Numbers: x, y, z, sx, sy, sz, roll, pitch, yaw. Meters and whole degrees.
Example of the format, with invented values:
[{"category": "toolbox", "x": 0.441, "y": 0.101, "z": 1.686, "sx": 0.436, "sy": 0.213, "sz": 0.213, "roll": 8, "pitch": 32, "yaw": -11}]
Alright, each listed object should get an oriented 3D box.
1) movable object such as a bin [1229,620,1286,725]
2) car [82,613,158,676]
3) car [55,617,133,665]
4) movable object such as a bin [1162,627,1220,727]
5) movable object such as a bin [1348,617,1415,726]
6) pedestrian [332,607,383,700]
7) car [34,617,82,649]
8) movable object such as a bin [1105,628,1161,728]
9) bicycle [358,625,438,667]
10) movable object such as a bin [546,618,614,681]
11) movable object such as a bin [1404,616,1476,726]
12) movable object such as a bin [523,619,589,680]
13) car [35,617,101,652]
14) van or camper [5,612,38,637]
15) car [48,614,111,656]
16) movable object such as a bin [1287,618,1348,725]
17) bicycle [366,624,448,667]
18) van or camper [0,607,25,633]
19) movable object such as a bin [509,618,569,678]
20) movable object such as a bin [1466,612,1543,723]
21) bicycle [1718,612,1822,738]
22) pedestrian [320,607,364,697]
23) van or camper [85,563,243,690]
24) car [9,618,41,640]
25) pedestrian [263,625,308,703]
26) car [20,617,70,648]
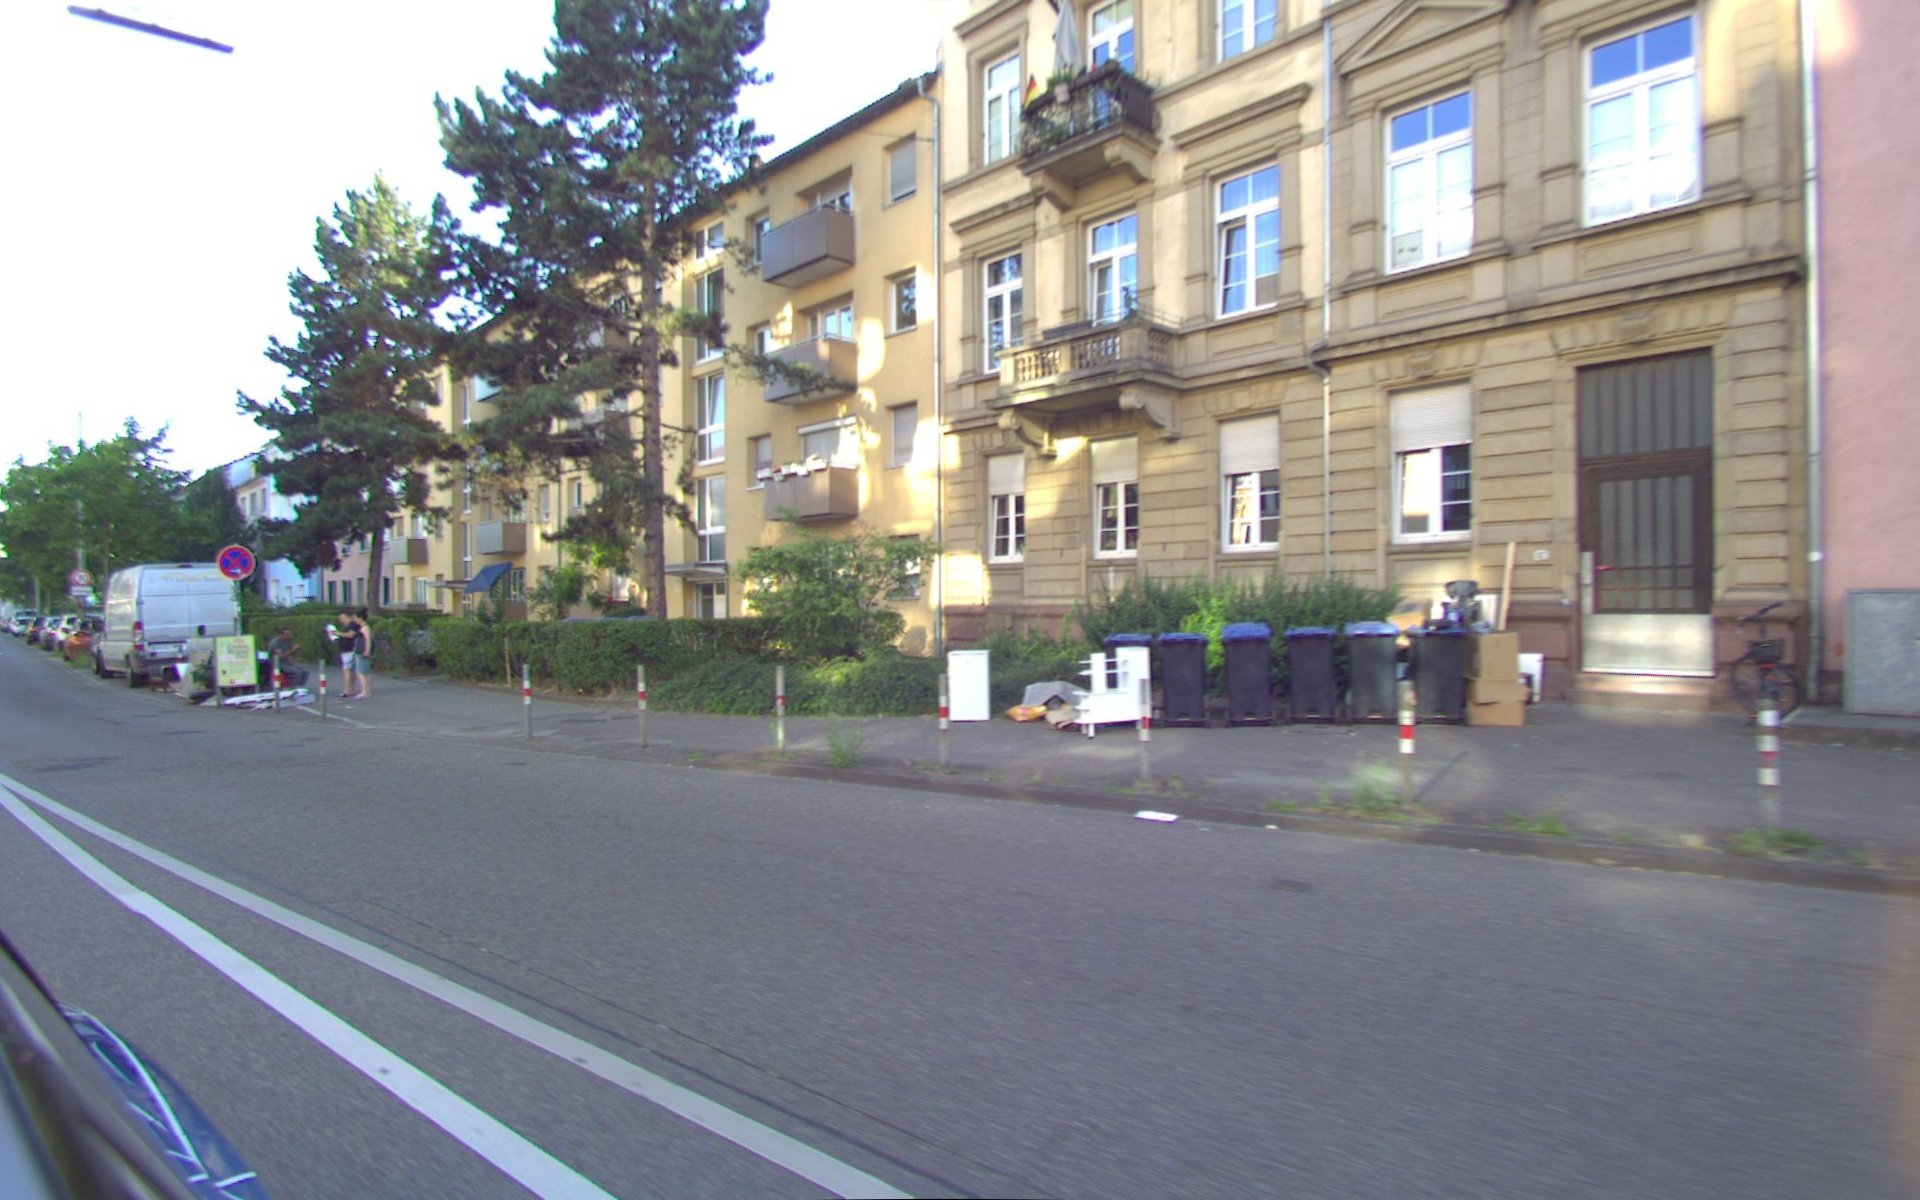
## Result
[{"category": "movable object such as a bin", "x": 3.372, "y": 0.810, "z": 11.509, "sx": 0.578, "sy": 1.119, "sz": 0.639, "roll": -1, "pitch": 2, "yaw": 15}, {"category": "car", "x": -22.965, "y": 1.168, "z": 27.651, "sx": 1.387, "sy": 1.560, "sz": 2.764, "roll": -3, "pitch": 1, "yaw": -43}, {"category": "car", "x": -29.350, "y": 1.360, "z": 34.258, "sx": 1.697, "sy": 1.462, "sz": 3.925, "roll": -2, "pitch": 0, "yaw": -45}, {"category": "movable object such as a bin", "x": 2.661, "y": 0.868, "z": 11.629, "sx": 0.621, "sy": 1.076, "sz": 0.639, "roll": -1, "pitch": 2, "yaw": 15}, {"category": "movable object such as a bin", "x": 4.581, "y": 0.763, "z": 11.023, "sx": 0.578, "sy": 1.119, "sz": 0.639, "roll": -1, "pitch": 2, "yaw": 15}, {"category": "pedestrian", "x": -11.092, "y": 0.973, "z": 18.642, "sx": 0.696, "sy": 1.664, "sz": 0.598, "roll": -1, "pitch": -1, "yaw": 39}, {"category": "car", "x": -45.633, "y": 1.646, "z": 51.162, "sx": 3.643, "sy": 1.503, "sz": 1.573, "roll": 0, "pitch": 1, "yaw": 45}, {"category": "movable object such as a bin", "x": 2.039, "y": 0.901, "z": 11.860, "sx": 0.578, "sy": 1.091, "sz": 0.639, "roll": -1, "pitch": 2, "yaw": 15}, {"category": "bicycle", "x": -14.869, "y": 1.206, "z": 26.795, "sx": 1.738, "sy": 0.989, "sz": 0.590, "roll": -2, "pitch": 1, "yaw": -44}, {"category": "movable object such as a bin", "x": -6.862, "y": 0.877, "z": 18.264, "sx": 0.769, "sy": 1.058, "sz": 0.858, "roll": -1, "pitch": 2, "yaw": 44}, {"category": "movable object such as a bin", "x": 5.178, "y": 0.752, "z": 10.946, "sx": 0.578, "sy": 1.119, "sz": 0.639, "roll": -1, "pitch": 2, "yaw": 15}, {"category": "movable object such as a bin", "x": -7.516, "y": 0.903, "z": 18.841, "sx": 0.769, "sy": 1.058, "sz": 0.858, "roll": -1, "pitch": 2, "yaw": 44}, {"category": "car", "x": -40.537, "y": 1.520, "z": 45.975, "sx": 4.460, "sy": 1.459, "sz": 1.971, "roll": -1, "pitch": -1, "yaw": 45}, {"category": "van or camper", "x": -79.829, "y": 2.041, "z": 86.044, "sx": 4.866, "sy": 2.029, "sz": 1.784, "roll": -1, "pitch": 0, "yaw": 44}, {"category": "car", "x": -36.979, "y": 1.432, "z": 42.467, "sx": 1.756, "sy": 1.600, "sz": 4.188, "roll": -2, "pitch": 0, "yaw": -44}, {"category": "movable object such as a bin", "x": 3.991, "y": 0.786, "z": 11.331, "sx": 0.578, "sy": 1.119, "sz": 0.639, "roll": -1, "pitch": 2, "yaw": 15}, {"category": "bicycle", "x": -14.341, "y": 1.166, "z": 26.259, "sx": 1.764, "sy": 0.989, "sz": 0.590, "roll": -2, "pitch": 1, "yaw": -44}, {"category": "van or camper", "x": -95.771, "y": 2.030, "z": 102.100, "sx": 1.891, "sy": 2.562, "sz": 5.338, "roll": -1, "pitch": 0, "yaw": -45}, {"category": "movable object such as a bin", "x": -8.045, "y": 0.911, "z": 19.334, "sx": 0.582, "sy": 1.058, "sz": 0.858, "roll": -1, "pitch": 2, "yaw": 44}, {"category": "movable object such as a bin", "x": 5.833, "y": 0.706, "z": 10.872, "sx": 0.578, "sy": 1.119, "sz": 0.639, "roll": -1, "pitch": 2, "yaw": 15}, {"category": "bicycle", "x": 8.081, "y": 0.699, "z": 10.071, "sx": 0.662, "sy": 0.973, "sz": 1.631, "roll": -1, "pitch": 5, "yaw": 44}, {"category": "pedestrian", "x": -11.671, "y": 0.965, "z": 19.120, "sx": 0.724, "sy": 1.664, "sz": 0.475, "roll": -1, "pitch": 0, "yaw": 39}, {"category": "van or camper", "x": -19.346, "y": 0.579, "z": 24.475, "sx": 6.016, "sy": 2.683, "sz": 2.014, "roll": -1, "pitch": 2, "yaw": 43}, {"category": "car", "x": -69.240, "y": 2.135, "z": 74.960, "sx": 1.660, "sy": 1.454, "sz": 3.885, "roll": -2, "pitch": 0, "yaw": -43}, {"category": "pedestrian", "x": -12.476, "y": 1.170, "z": 18.720, "sx": 0.480, "sy": 1.388, "sz": 0.553, "roll": -1, "pitch": 1, "yaw": 40}, {"category": "car", "x": -49.424, "y": 1.700, "z": 54.637, "sx": 1.816, "sy": 1.529, "sz": 4.319, "roll": -2, "pitch": 1, "yaw": -44}]
